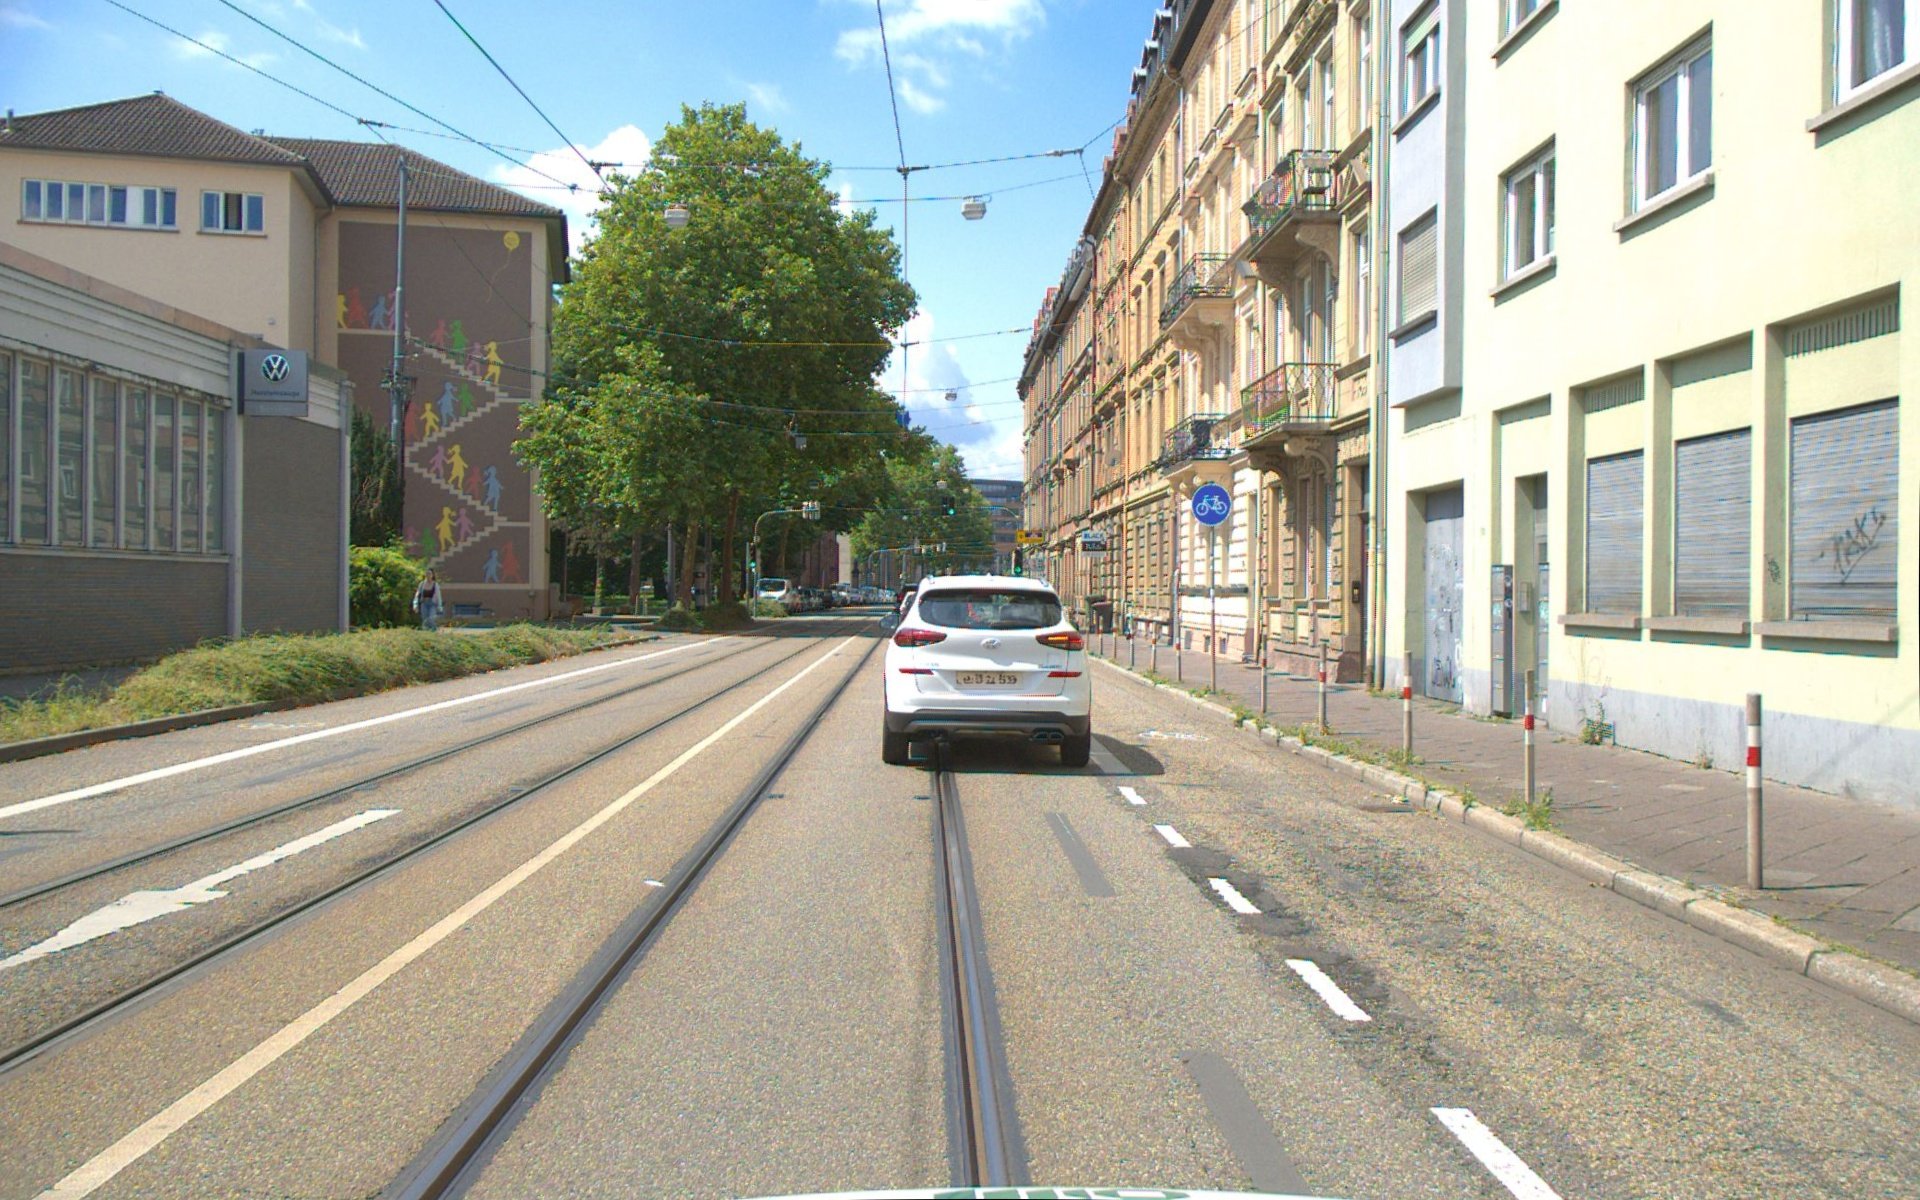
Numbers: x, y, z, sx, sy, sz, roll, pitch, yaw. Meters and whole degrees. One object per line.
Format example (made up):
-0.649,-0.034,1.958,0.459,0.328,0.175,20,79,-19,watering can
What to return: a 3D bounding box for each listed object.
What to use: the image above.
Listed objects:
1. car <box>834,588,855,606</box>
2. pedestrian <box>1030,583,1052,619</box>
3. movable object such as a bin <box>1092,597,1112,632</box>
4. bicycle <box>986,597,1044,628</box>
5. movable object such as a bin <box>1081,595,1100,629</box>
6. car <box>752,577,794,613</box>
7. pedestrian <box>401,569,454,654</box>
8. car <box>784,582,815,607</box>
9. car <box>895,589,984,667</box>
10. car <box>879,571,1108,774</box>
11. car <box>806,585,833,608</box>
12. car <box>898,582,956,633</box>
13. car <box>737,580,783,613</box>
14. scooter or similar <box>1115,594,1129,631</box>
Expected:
-10.896,-0.293,156.516,1.911,1.660,3.997,1,0,-4,car
3.667,0.027,74.794,0.919,1.600,1.049,1,0,-1,pedestrian
4.871,0.490,56.866,0.600,1.163,0.638,1,0,-1,movable object such as a bin
2.148,0.484,65.187,2.222,1.164,0.584,1,0,-4,bicycle
4.581,0.427,58.289,0.600,1.163,0.638,1,0,-1,movable object such as a bin
-10.430,-0.274,92.332,1.910,1.928,4.564,1,0,-2,car
-12.063,0.255,37.493,0.862,1.898,1.081,-1,0,-1,pedestrian
-10.924,-0.363,112.946,1.911,1.660,3.997,1,0,-4,car
-0.428,0.545,35.189,1.777,1.551,4.085,0,0,0,car
0.180,0.593,15.806,1.815,1.662,4.177,1,0,-4,car
-10.642,-0.270,125.266,1.911,1.660,3.997,1,0,-4,car
-1.040,0.223,52.922,1.778,1.550,3.955,1,0,-1,car
-10.386,-0.192,86.254,1.910,1.660,4.574,1,0,-2,car
5.271,0.394,53.812,0.387,1.184,0.486,1,0,-1,scooter or similar
